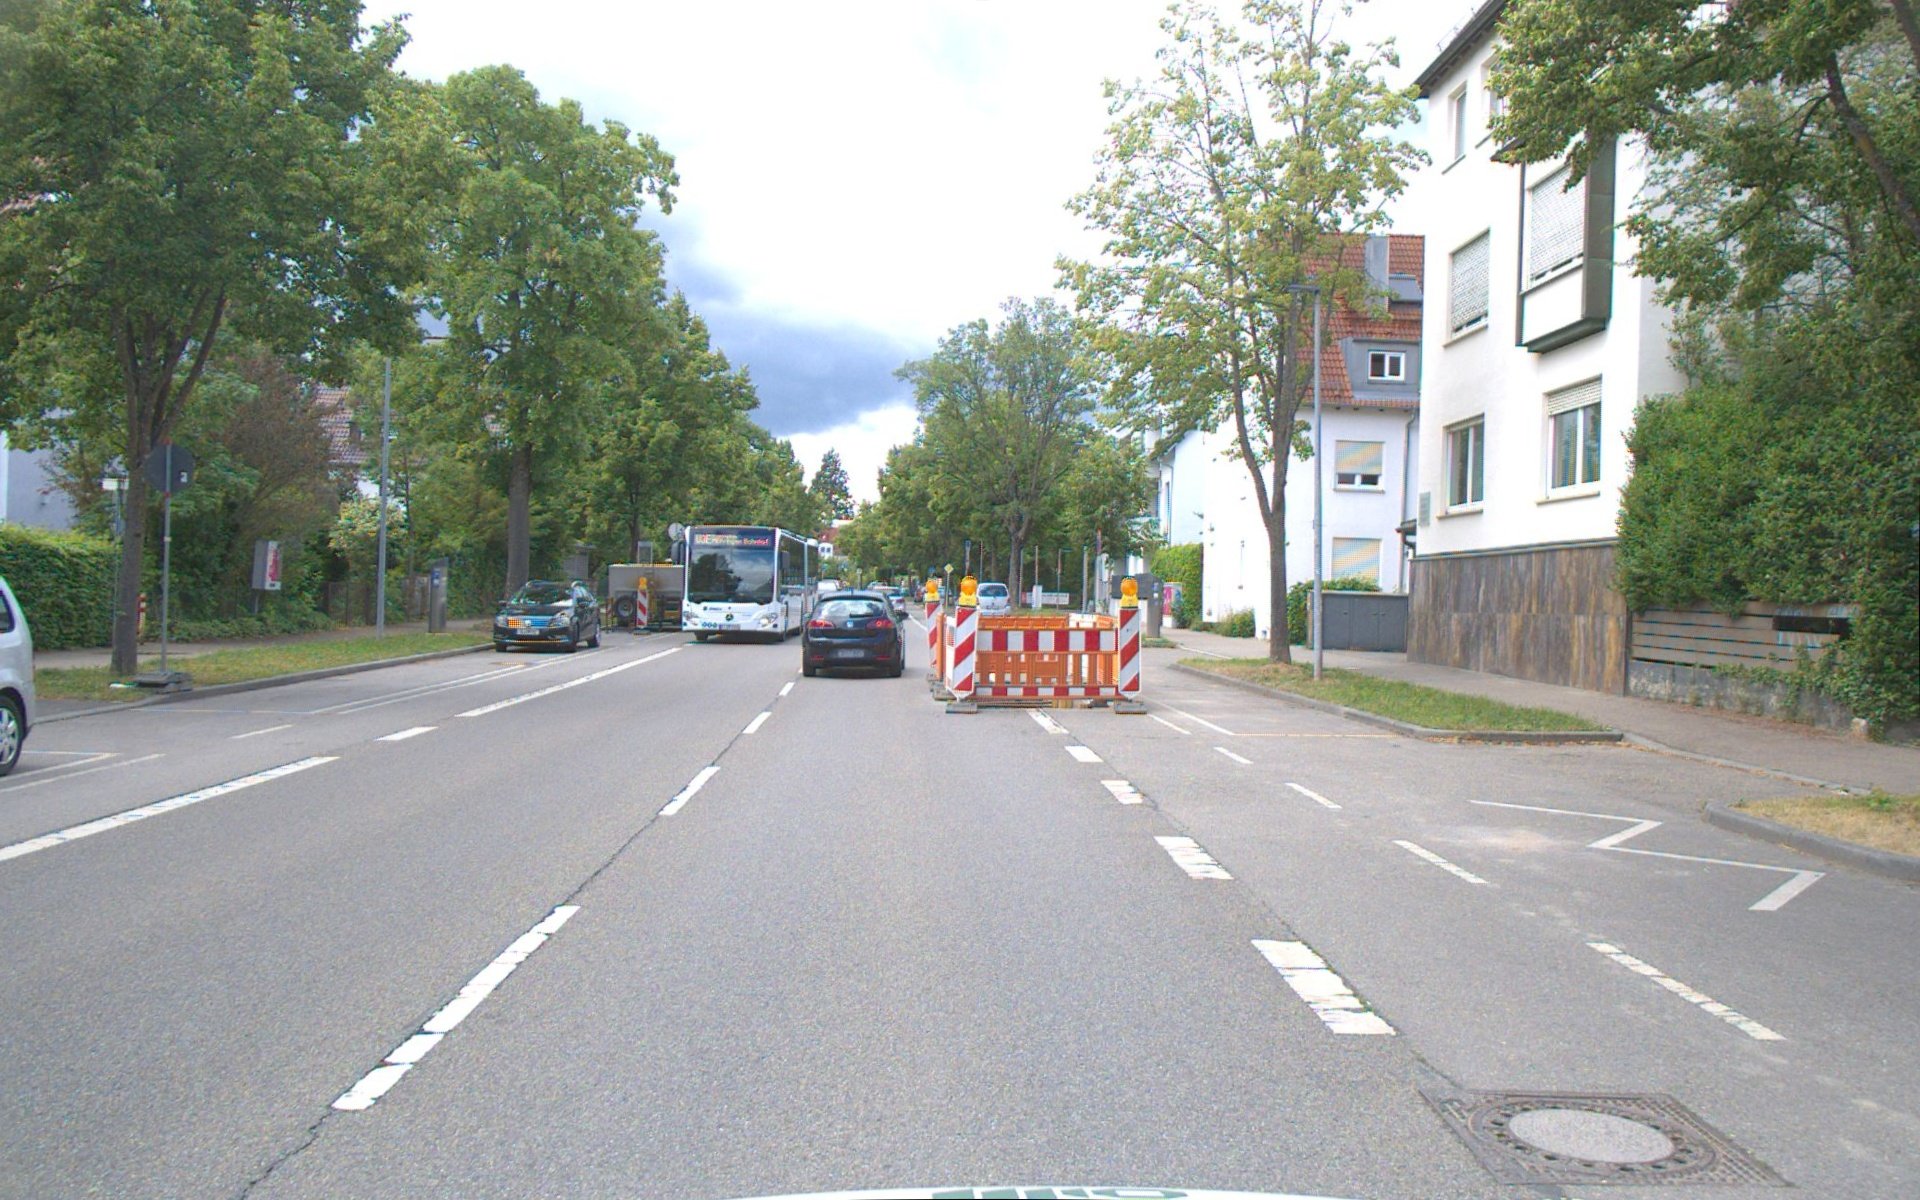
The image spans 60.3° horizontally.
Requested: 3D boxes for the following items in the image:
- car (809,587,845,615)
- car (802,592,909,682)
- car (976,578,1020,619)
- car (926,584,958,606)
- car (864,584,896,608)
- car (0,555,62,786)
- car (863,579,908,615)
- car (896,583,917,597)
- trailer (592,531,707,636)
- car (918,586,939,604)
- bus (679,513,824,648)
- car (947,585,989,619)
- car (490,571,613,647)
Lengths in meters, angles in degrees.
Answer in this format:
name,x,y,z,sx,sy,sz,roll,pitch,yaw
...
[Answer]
name,x,y,z,sx,sy,sz,roll,pitch,yaw
car,-8.162,0.049,101.867,1.953,1.697,4.588,-1,0,-2
car,-1.908,0.606,29.351,1.748,1.474,3.554,1,0,-6
car,1.608,-0.075,70.884,1.600,1.694,3.646,1,0,-3
car,-1.267,-0.345,114.408,1.980,1.468,5.022,1,0,-3
car,-5.421,-0.283,111.511,1.955,1.557,3.996,1,0,-5
car,-7.904,0.499,10.965,1.655,1.713,4.224,1,0,-2
car,-3.450,-0.154,76.977,1.953,1.585,3.999,1,0,-1
car,-5.500,-1.025,169.525,1.652,1.457,4.037,1,1,-8
trailer,-9.697,-0.475,52.351,2.621,2.992,7.469,2,0,-4
car,-2.576,-0.424,134.657,1.605,1.445,3.999,1,0,-2
bus,-5.999,-0.457,50.726,2.748,3.346,18.037,1,0,-2
car,0.352,0.060,76.549,1.654,1.519,4.224,1,0,-4
car,-9.139,0.241,37.374,1.823,1.580,4.616,1,-1,-3
